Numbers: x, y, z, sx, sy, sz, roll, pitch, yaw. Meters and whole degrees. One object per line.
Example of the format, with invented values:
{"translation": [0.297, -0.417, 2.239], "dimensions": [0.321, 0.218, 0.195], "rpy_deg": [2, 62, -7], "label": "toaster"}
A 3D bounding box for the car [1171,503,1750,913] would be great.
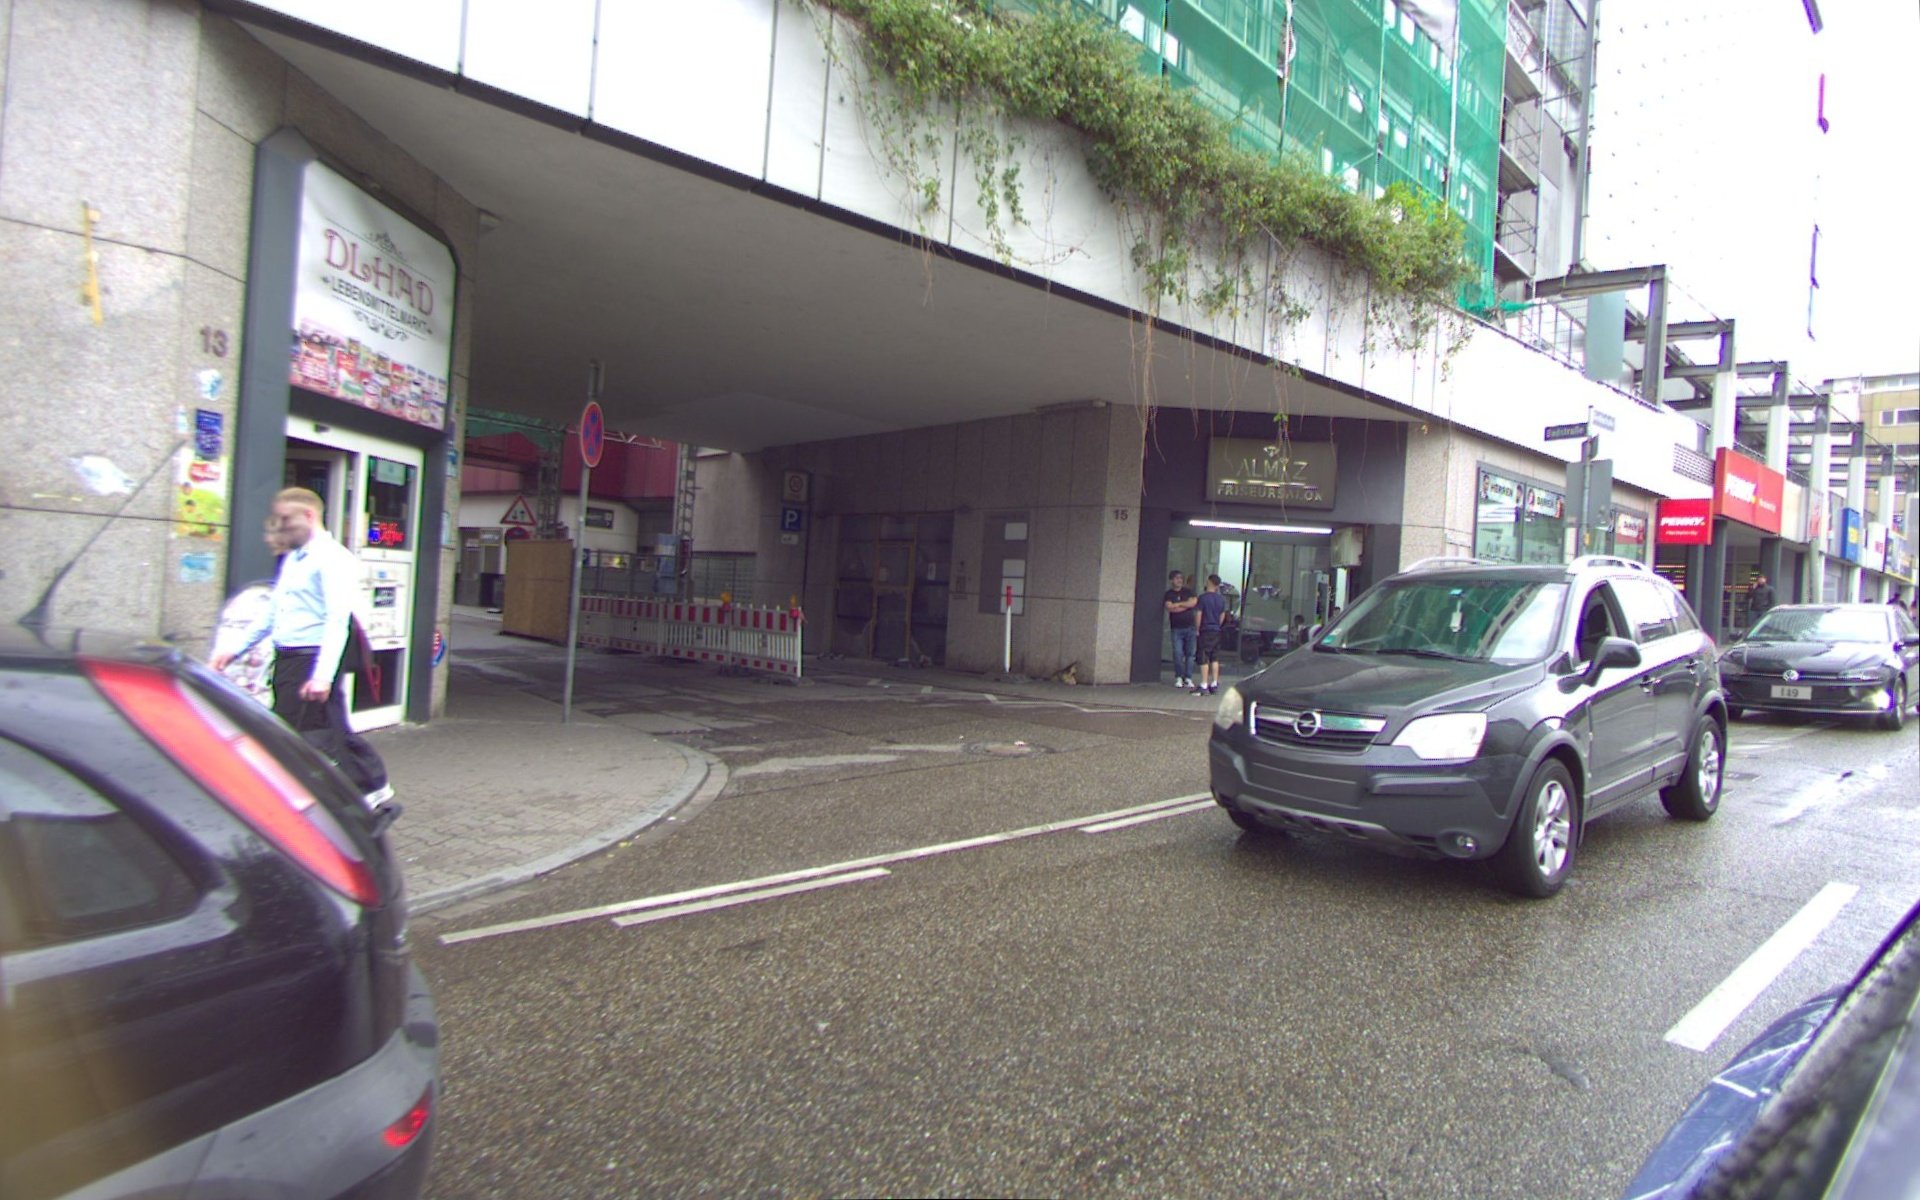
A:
{"translation": [3.345, 0.491, 6.405], "dimensions": [4.088, 1.788, 1.764], "rpy_deg": [1, -1, -39], "label": "car"}

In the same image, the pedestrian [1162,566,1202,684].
{"translation": [3.294, 0.361, 15.035], "dimensions": [0.474, 1.729, 0.467], "rpy_deg": [0, 0, 1], "label": "pedestrian"}

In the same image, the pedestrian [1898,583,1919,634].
{"translation": [29.179, 0.261, 31.043], "dimensions": [0.570, 1.519, 0.509], "rpy_deg": [-1, 3, -42], "label": "pedestrian"}

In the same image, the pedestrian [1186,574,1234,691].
{"translation": [3.530, 0.439, 14.295], "dimensions": [0.630, 1.615, 0.574], "rpy_deg": [0, 0, 17], "label": "pedestrian"}

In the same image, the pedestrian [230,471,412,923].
{"translation": [-3.082, 0.414, 4.873], "dimensions": [0.629, 1.959, 0.737], "rpy_deg": [-1, 1, -41], "label": "pedestrian"}

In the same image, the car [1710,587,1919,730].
{"translation": [11.141, 0.650, 12.772], "dimensions": [4.088, 1.523, 1.759], "rpy_deg": [1, 0, -39], "label": "car"}

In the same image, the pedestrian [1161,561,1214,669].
{"translation": [4.002, 0.250, 17.839], "dimensions": [0.730, 1.838, 0.773], "rpy_deg": [2, 2, 3], "label": "pedestrian"}

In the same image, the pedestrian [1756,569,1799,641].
{"translation": [19.772, 0.106, 24.494], "dimensions": [0.499, 1.699, 0.581], "rpy_deg": [0, 2, -20], "label": "pedestrian"}

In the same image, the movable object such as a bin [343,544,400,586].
{"translation": [-31.558, -1.844, 54.255], "dimensions": [3.823, 2.117, 1.462], "rpy_deg": [0, 1, 41], "label": "movable object such as a bin"}

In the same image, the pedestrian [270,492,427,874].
{"translation": [-3.436, 0.417, 5.680], "dimensions": [0.629, 1.959, 0.737], "rpy_deg": [-1, 1, -41], "label": "pedestrian"}

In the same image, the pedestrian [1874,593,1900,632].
{"translation": [28.983, 0.379, 31.647], "dimensions": [0.570, 1.181, 0.509], "rpy_deg": [-1, 3, -42], "label": "pedestrian"}

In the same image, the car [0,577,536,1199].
{"translation": [-2.593, 0.672, 1.174], "dimensions": [3.558, 1.447, 1.610], "rpy_deg": [1, 0, -40], "label": "car"}

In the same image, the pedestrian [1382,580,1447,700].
{"translation": [6.573, 0.552, 14.632], "dimensions": [0.722, 1.663, 0.637], "rpy_deg": [-1, 1, -44], "label": "pedestrian"}

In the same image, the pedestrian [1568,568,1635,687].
{"translation": [9.202, 0.369, 14.525], "dimensions": [0.674, 1.647, 0.571], "rpy_deg": [3, 3, 43], "label": "pedestrian"}
